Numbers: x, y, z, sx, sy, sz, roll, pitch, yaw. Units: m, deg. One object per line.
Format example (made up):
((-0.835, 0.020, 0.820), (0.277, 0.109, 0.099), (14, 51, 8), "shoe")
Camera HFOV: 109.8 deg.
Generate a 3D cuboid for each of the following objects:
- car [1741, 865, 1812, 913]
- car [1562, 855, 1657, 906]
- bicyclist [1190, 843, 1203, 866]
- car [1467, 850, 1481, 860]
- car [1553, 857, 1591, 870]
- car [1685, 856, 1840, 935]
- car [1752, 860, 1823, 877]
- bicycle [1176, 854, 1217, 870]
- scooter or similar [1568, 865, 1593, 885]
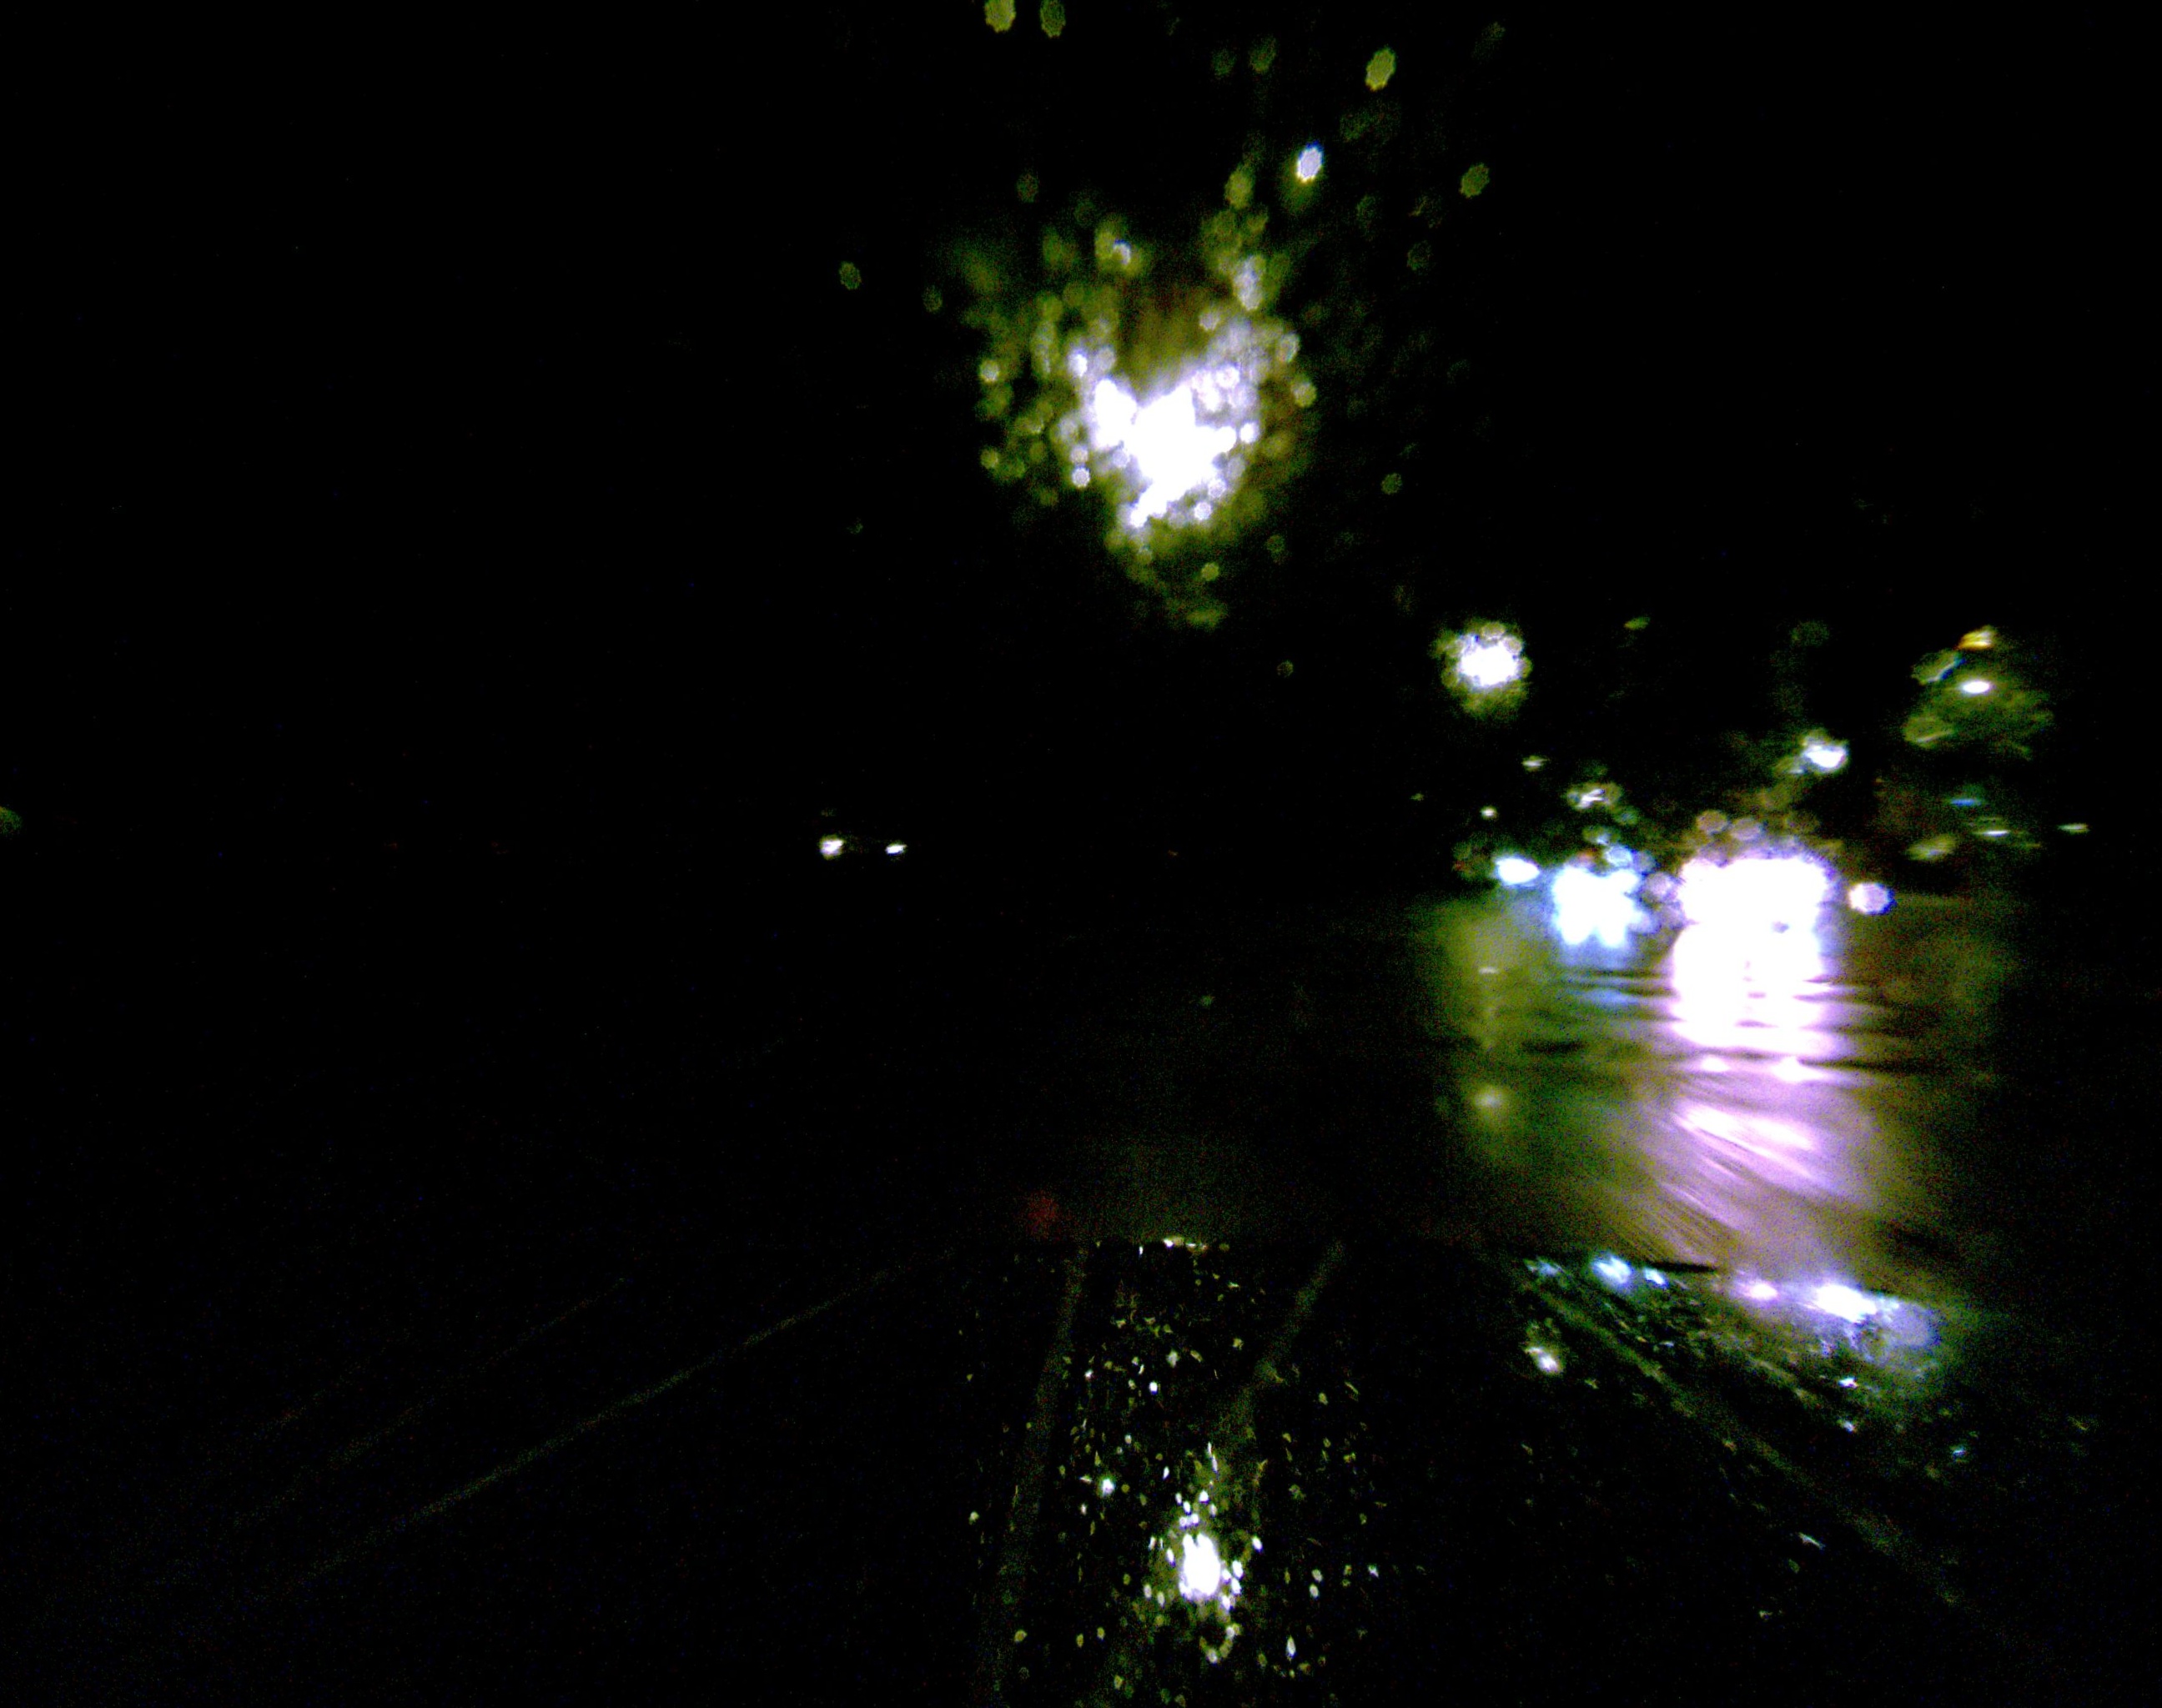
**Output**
((27.271, 1.309, 29.756), (4.203, 1.696, 1.830), (0, 0, -45), "car")
((19.826, 0.928, 28.445), (4.451, 1.709, 1.946), (0, 0, -42), "car")
((7.113, 0.034, 46.620), (0.604, 1.438, 0.618), (-1, 0, 28), "bicyclist")
((68.416, 0.115, 132.188), (2.065, 1.705, 5.050), (-1, 0, 27), "car")
((65.257, 1.242, 101.157), (2.068, 1.705, 5.042), (-1, 0, 4), "car")
((15.469, 0.829, 17.141), (4.884, 1.518, 1.830), (0, 0, -39), "car")
((57.573, 1.176, 62.002), (1.830, 1.364, 3.945), (-1, 0, -8), "car")
((7.076, 0.482, 46.646), (2.415, 0.971, 0.623), (-1, 0, 29), "bicycle")
((28.624, 1.187, 43.545), (1.101, 1.091, 0.318), (2, 2, 39), "scooter or similar")
